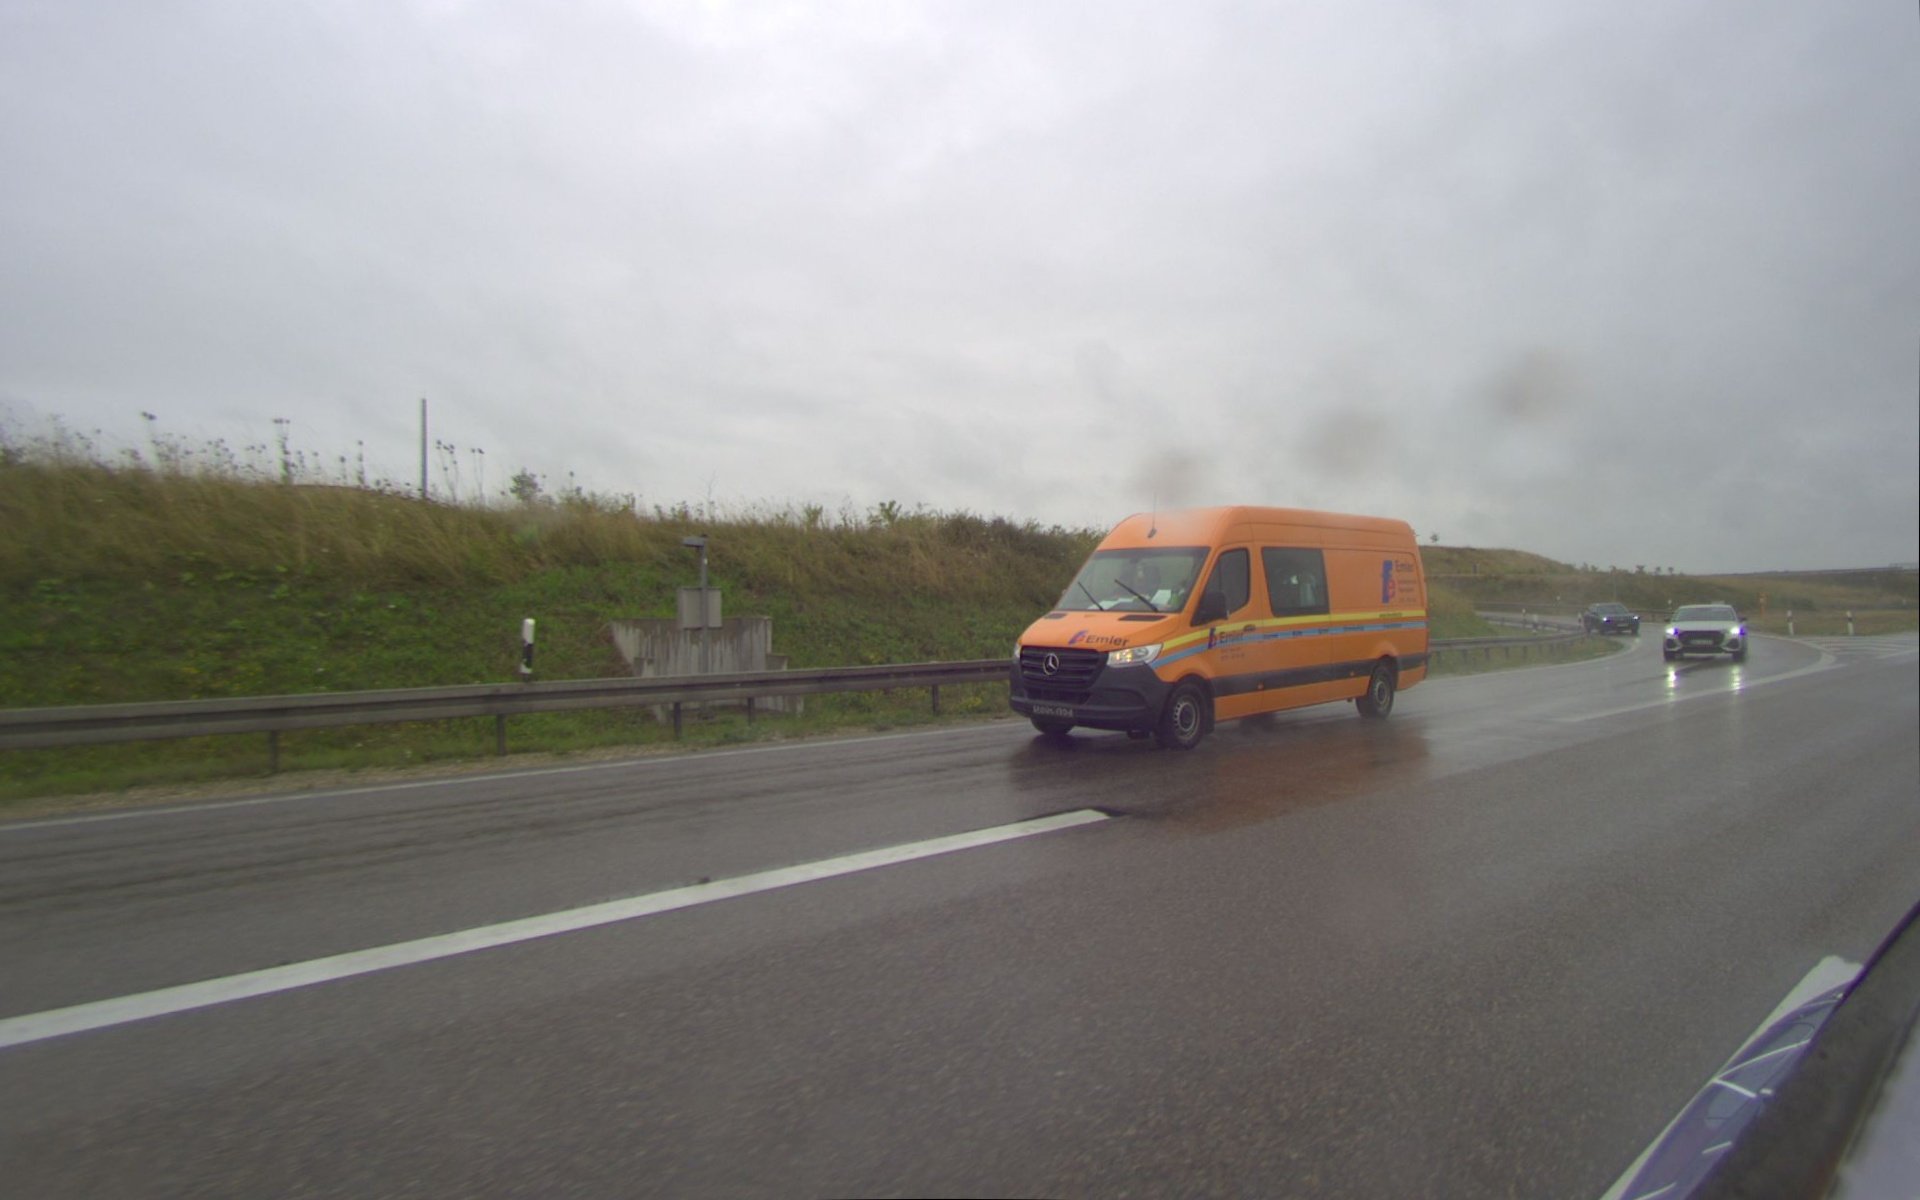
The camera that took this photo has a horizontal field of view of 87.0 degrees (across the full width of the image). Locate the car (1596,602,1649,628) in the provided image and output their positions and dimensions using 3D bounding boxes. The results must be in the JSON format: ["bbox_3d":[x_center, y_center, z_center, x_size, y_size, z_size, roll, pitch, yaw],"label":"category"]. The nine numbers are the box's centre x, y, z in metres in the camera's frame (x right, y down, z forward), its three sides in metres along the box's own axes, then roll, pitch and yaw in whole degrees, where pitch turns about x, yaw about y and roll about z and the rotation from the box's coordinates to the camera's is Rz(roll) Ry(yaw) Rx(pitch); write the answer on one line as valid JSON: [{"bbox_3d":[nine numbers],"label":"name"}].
[{"bbox_3d":[36.392,0.787,55.572,1.814,1.304,3.939,0,1,42],"label":"car"}]

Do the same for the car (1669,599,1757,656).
[{"bbox_3d":[22.122,0.760,29.730,1.904,1.504,4.417,-2,-1,38],"label":"car"}]

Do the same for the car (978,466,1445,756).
[{"bbox_3d":[3.393,0.094,12.288,6.768,2.649,2.063,0,-1,-42],"label":"car"}]
